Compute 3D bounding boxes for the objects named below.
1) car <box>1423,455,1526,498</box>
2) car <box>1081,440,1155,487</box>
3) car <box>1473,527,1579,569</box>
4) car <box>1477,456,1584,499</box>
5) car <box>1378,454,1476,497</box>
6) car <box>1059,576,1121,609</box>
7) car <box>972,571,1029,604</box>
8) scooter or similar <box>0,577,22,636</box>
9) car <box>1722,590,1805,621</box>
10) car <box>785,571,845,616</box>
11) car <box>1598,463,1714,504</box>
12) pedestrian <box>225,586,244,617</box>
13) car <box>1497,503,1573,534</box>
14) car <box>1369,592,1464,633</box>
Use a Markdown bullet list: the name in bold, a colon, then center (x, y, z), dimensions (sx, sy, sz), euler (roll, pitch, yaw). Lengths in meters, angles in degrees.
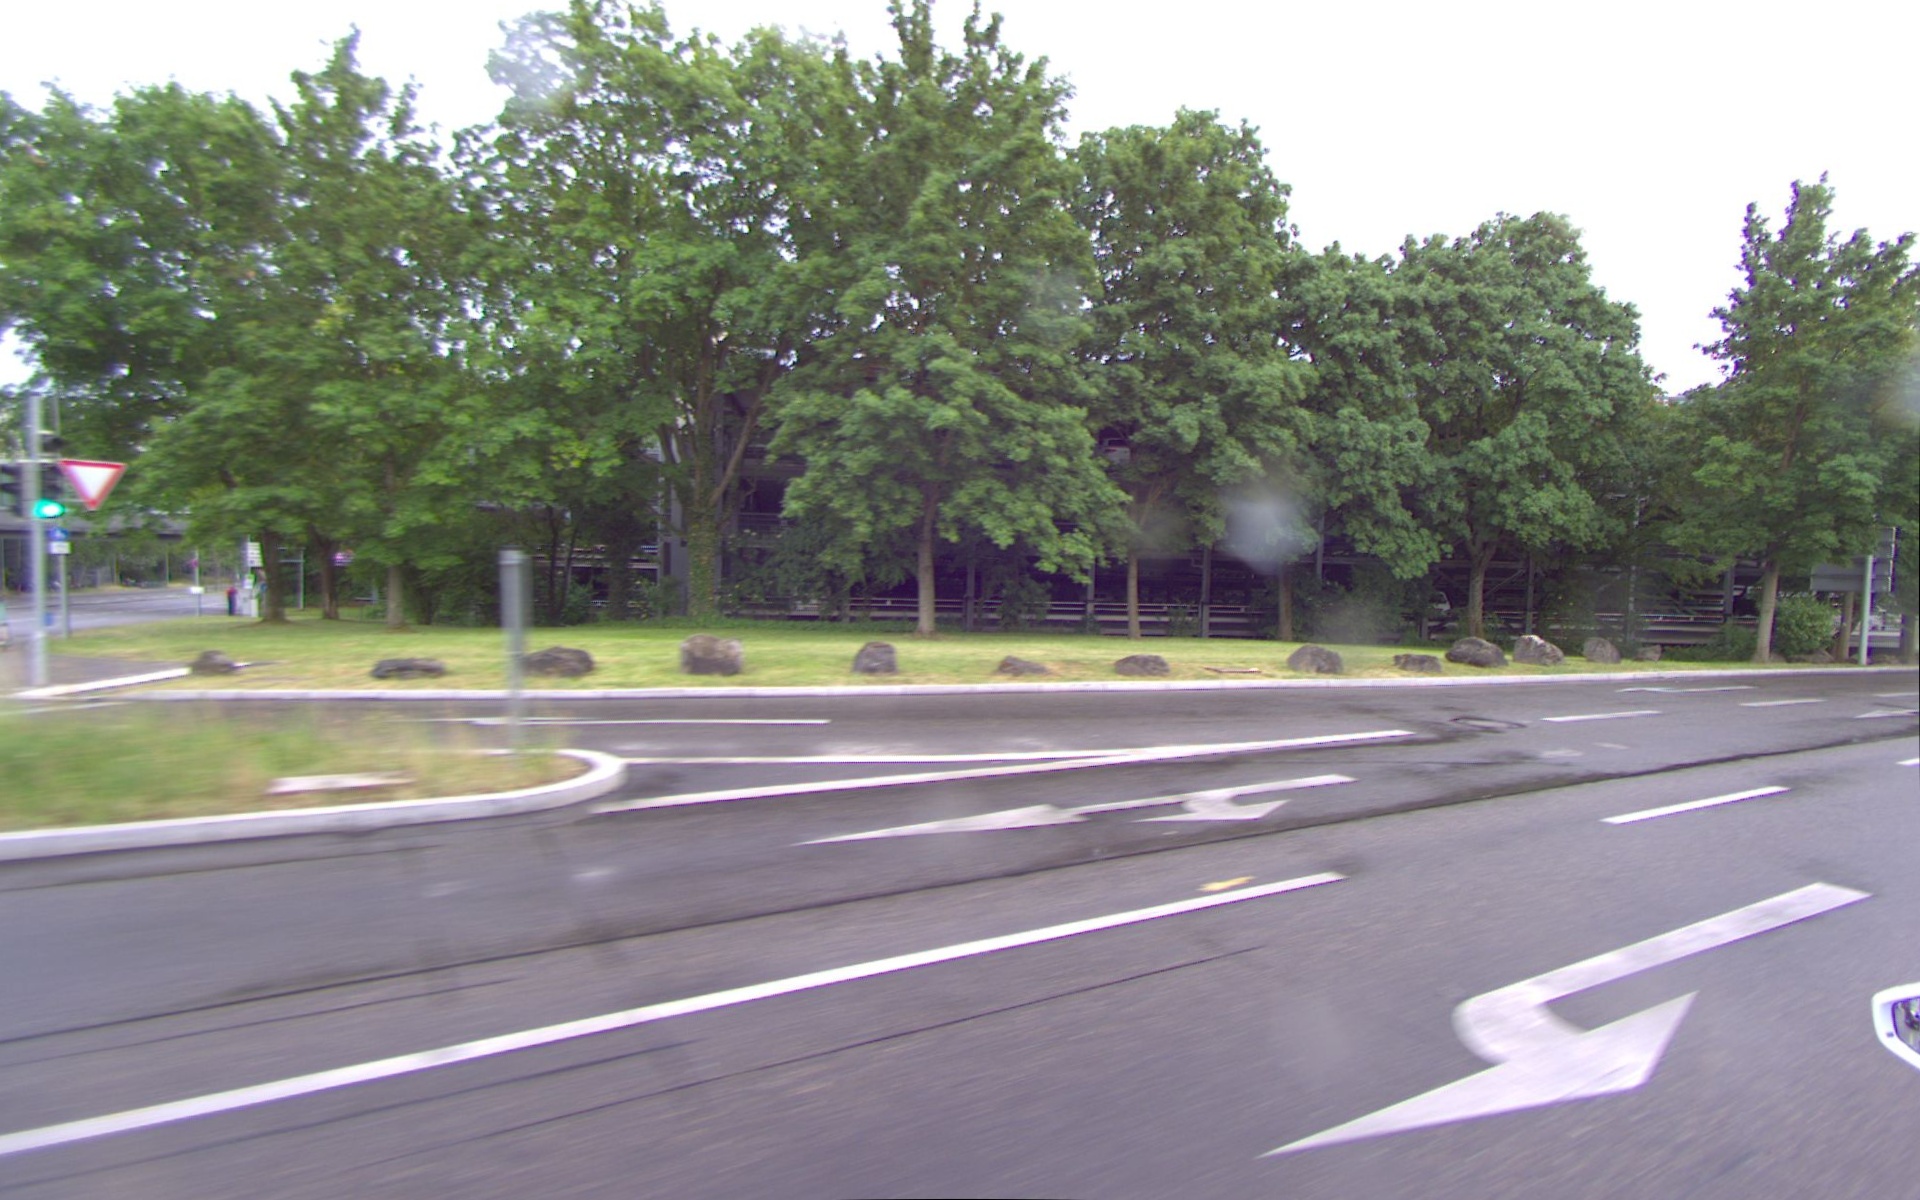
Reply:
- **car**: center (21.469, -5.140, 42.129), dimensions (1.962, 1.540, 3.996), euler (2, 5, -4)
- **car**: center (6.123, -5.296, 39.467), dimensions (1.962, 1.540, 3.996), euler (2, 5, -4)
- **car**: center (23.802, -2.244, 42.414), dimensions (1.962, 1.540, 3.996), euler (2, 5, -4)
- **car**: center (23.825, -5.097, 42.138), dimensions (1.962, 1.540, 3.996), euler (2, 5, -4)
- **car**: center (19.530, -5.167, 42.173), dimensions (1.962, 1.540, 3.996), euler (2, 5, -4)
- **car**: center (6.514, -0.420, 50.734), dimensions (1.964, 1.539, 3.992), euler (2, 1, -10)
- **car**: center (1.983, -0.651, 50.456), dimensions (1.964, 1.539, 3.992), euler (2, 1, -10)
- **scooter or similar**: center (-21.266, 0.132, 22.307), dimensions (0.512, 1.276, 1.213), euler (0, 1, -38)
- **car**: center (46.033, 0.273, 57.611), dimensions (1.558, 1.539, 3.467), euler (2, 2, -10)
- **car**: center (-5.456, -0.270, 38.160), dimensions (1.962, 1.539, 3.997), euler (2, 1, -5)
- **car**: center (30.048, -5.022, 43.522), dimensions (1.962, 1.540, 3.996), euler (2, 5, -4)
- **pedestrian**: center (-38.768, 0.066, 53.682), dimensions (0.703, 1.651, 0.739), euler (1, 1, 45)
- **car**: center (34.696, -4.905, 60.737), dimensions (1.963, 1.539, 3.995), euler (2, 1, -6)
- **car**: center (19.348, 0.486, 42.752), dimensions (1.962, 1.539, 3.997), euler (2, 1, -4)
